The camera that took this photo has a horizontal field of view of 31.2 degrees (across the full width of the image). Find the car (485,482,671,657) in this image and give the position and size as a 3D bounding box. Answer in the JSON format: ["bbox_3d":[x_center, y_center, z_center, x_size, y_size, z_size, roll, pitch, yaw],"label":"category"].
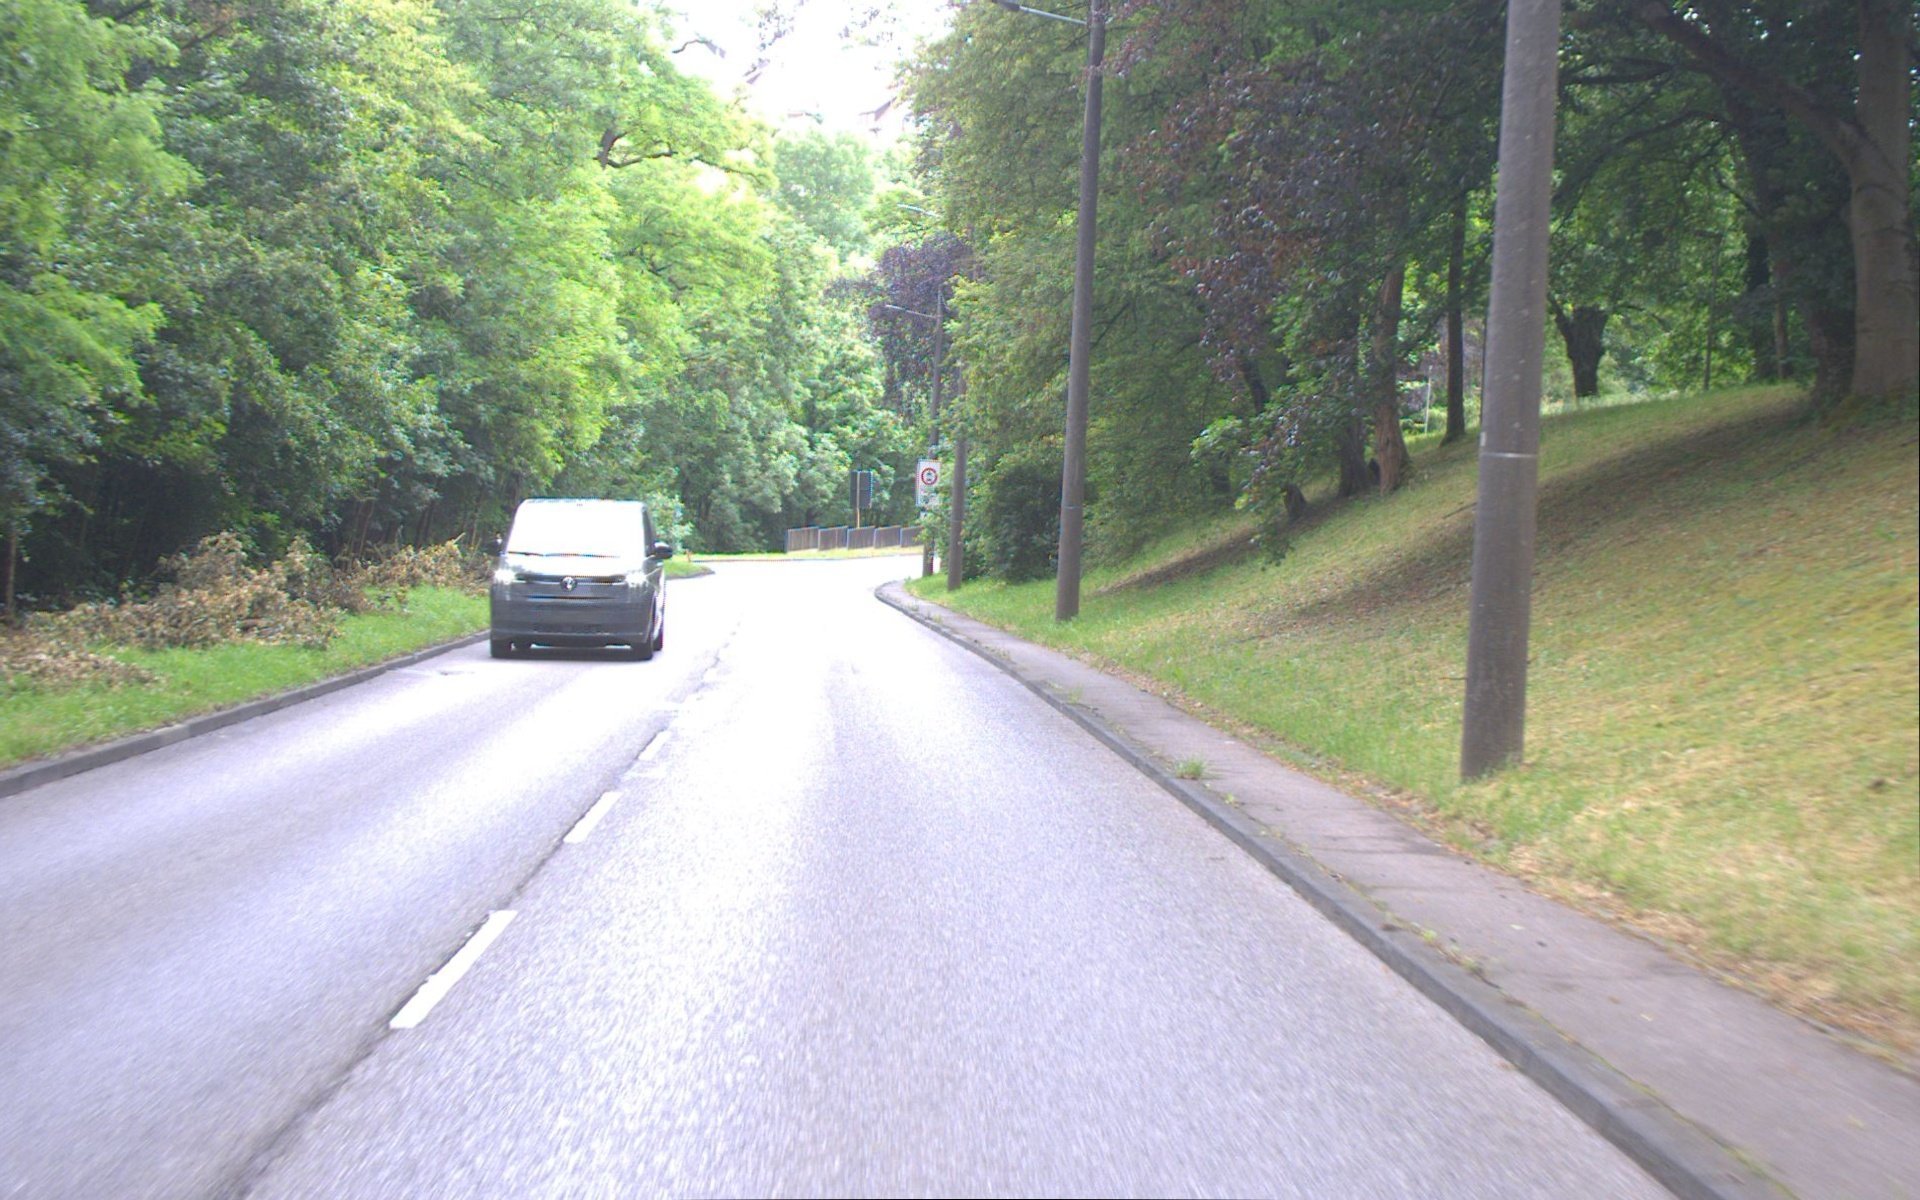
[{"bbox_3d":[-4.561,-0.374,41.644,1.993,1.941,4.946,2,1,-4],"label":"car"}]
